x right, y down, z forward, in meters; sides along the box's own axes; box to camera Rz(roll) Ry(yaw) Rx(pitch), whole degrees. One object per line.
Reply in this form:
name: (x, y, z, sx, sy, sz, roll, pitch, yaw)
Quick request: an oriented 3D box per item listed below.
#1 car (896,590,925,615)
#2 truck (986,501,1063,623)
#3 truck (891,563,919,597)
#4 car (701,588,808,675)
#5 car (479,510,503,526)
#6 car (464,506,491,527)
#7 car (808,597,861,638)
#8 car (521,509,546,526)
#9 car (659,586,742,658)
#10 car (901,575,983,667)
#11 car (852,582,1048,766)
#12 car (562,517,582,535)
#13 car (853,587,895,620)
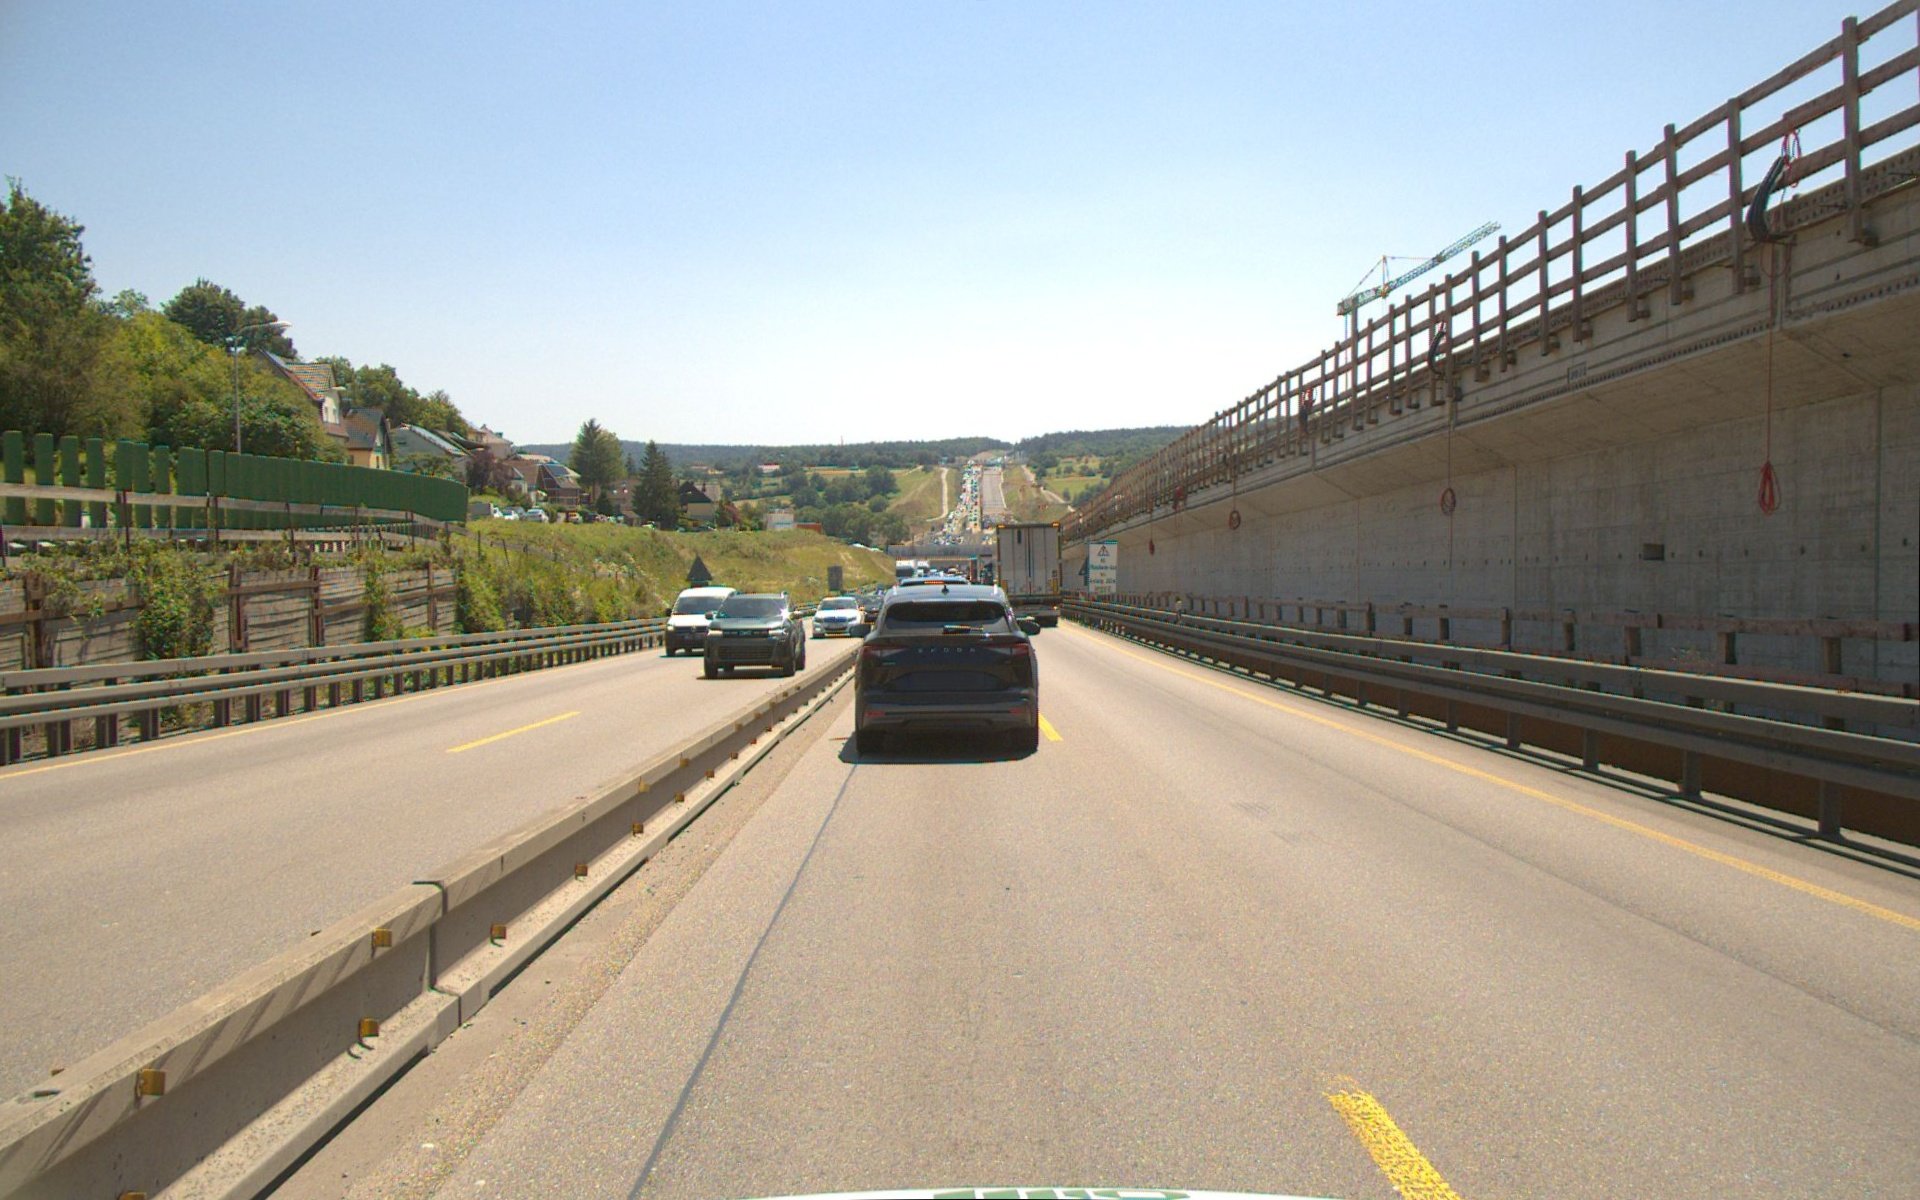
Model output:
car: (-3.275, 0.174, 109.223, 1.805, 1.557, 4.293, -1, 0, -1)
truck: (2.605, -1.428, 70.334, 2.787, 4.696, 11.811, -1, 0, 0)
truck: (-7.368, -2.692, 220.381, 3.120, 4.312, 6.473, -2, 0, -8)
car: (-4.181, 0.606, 34.154, 1.738, 1.662, 4.099, 0, 0, -1)
car: (-37.391, -6.540, 131.820, 1.255, 1.057, 3.271, -2, 0, -6)
car: (-37.157, -6.439, 127.284, 1.703, 1.422, 3.778, 0, 0, -21)
car: (-4.543, 0.628, 60.490, 1.697, 1.463, 4.257, 0, 0, -1)
car: (-40.934, -7.920, 158.830, 1.958, 1.343, 3.989, 2, 0, -11)
car: (-7.218, 0.600, 46.394, 1.564, 1.866, 4.752, -2, 0, -1)
car: (-0.451, 0.441, 36.924, 1.714, 1.928, 3.753, 1, 0, -2)
car: (-0.126, 0.673, 16.996, 1.746, 1.625, 3.754, -2, 0, -1)
car: (-41.852, -7.964, 178.463, 1.890, 1.758, 3.990, -2, 0, -10)
car: (-4.235, 0.180, 82.317, 1.573, 1.471, 4.671, -4, -1, 2)
